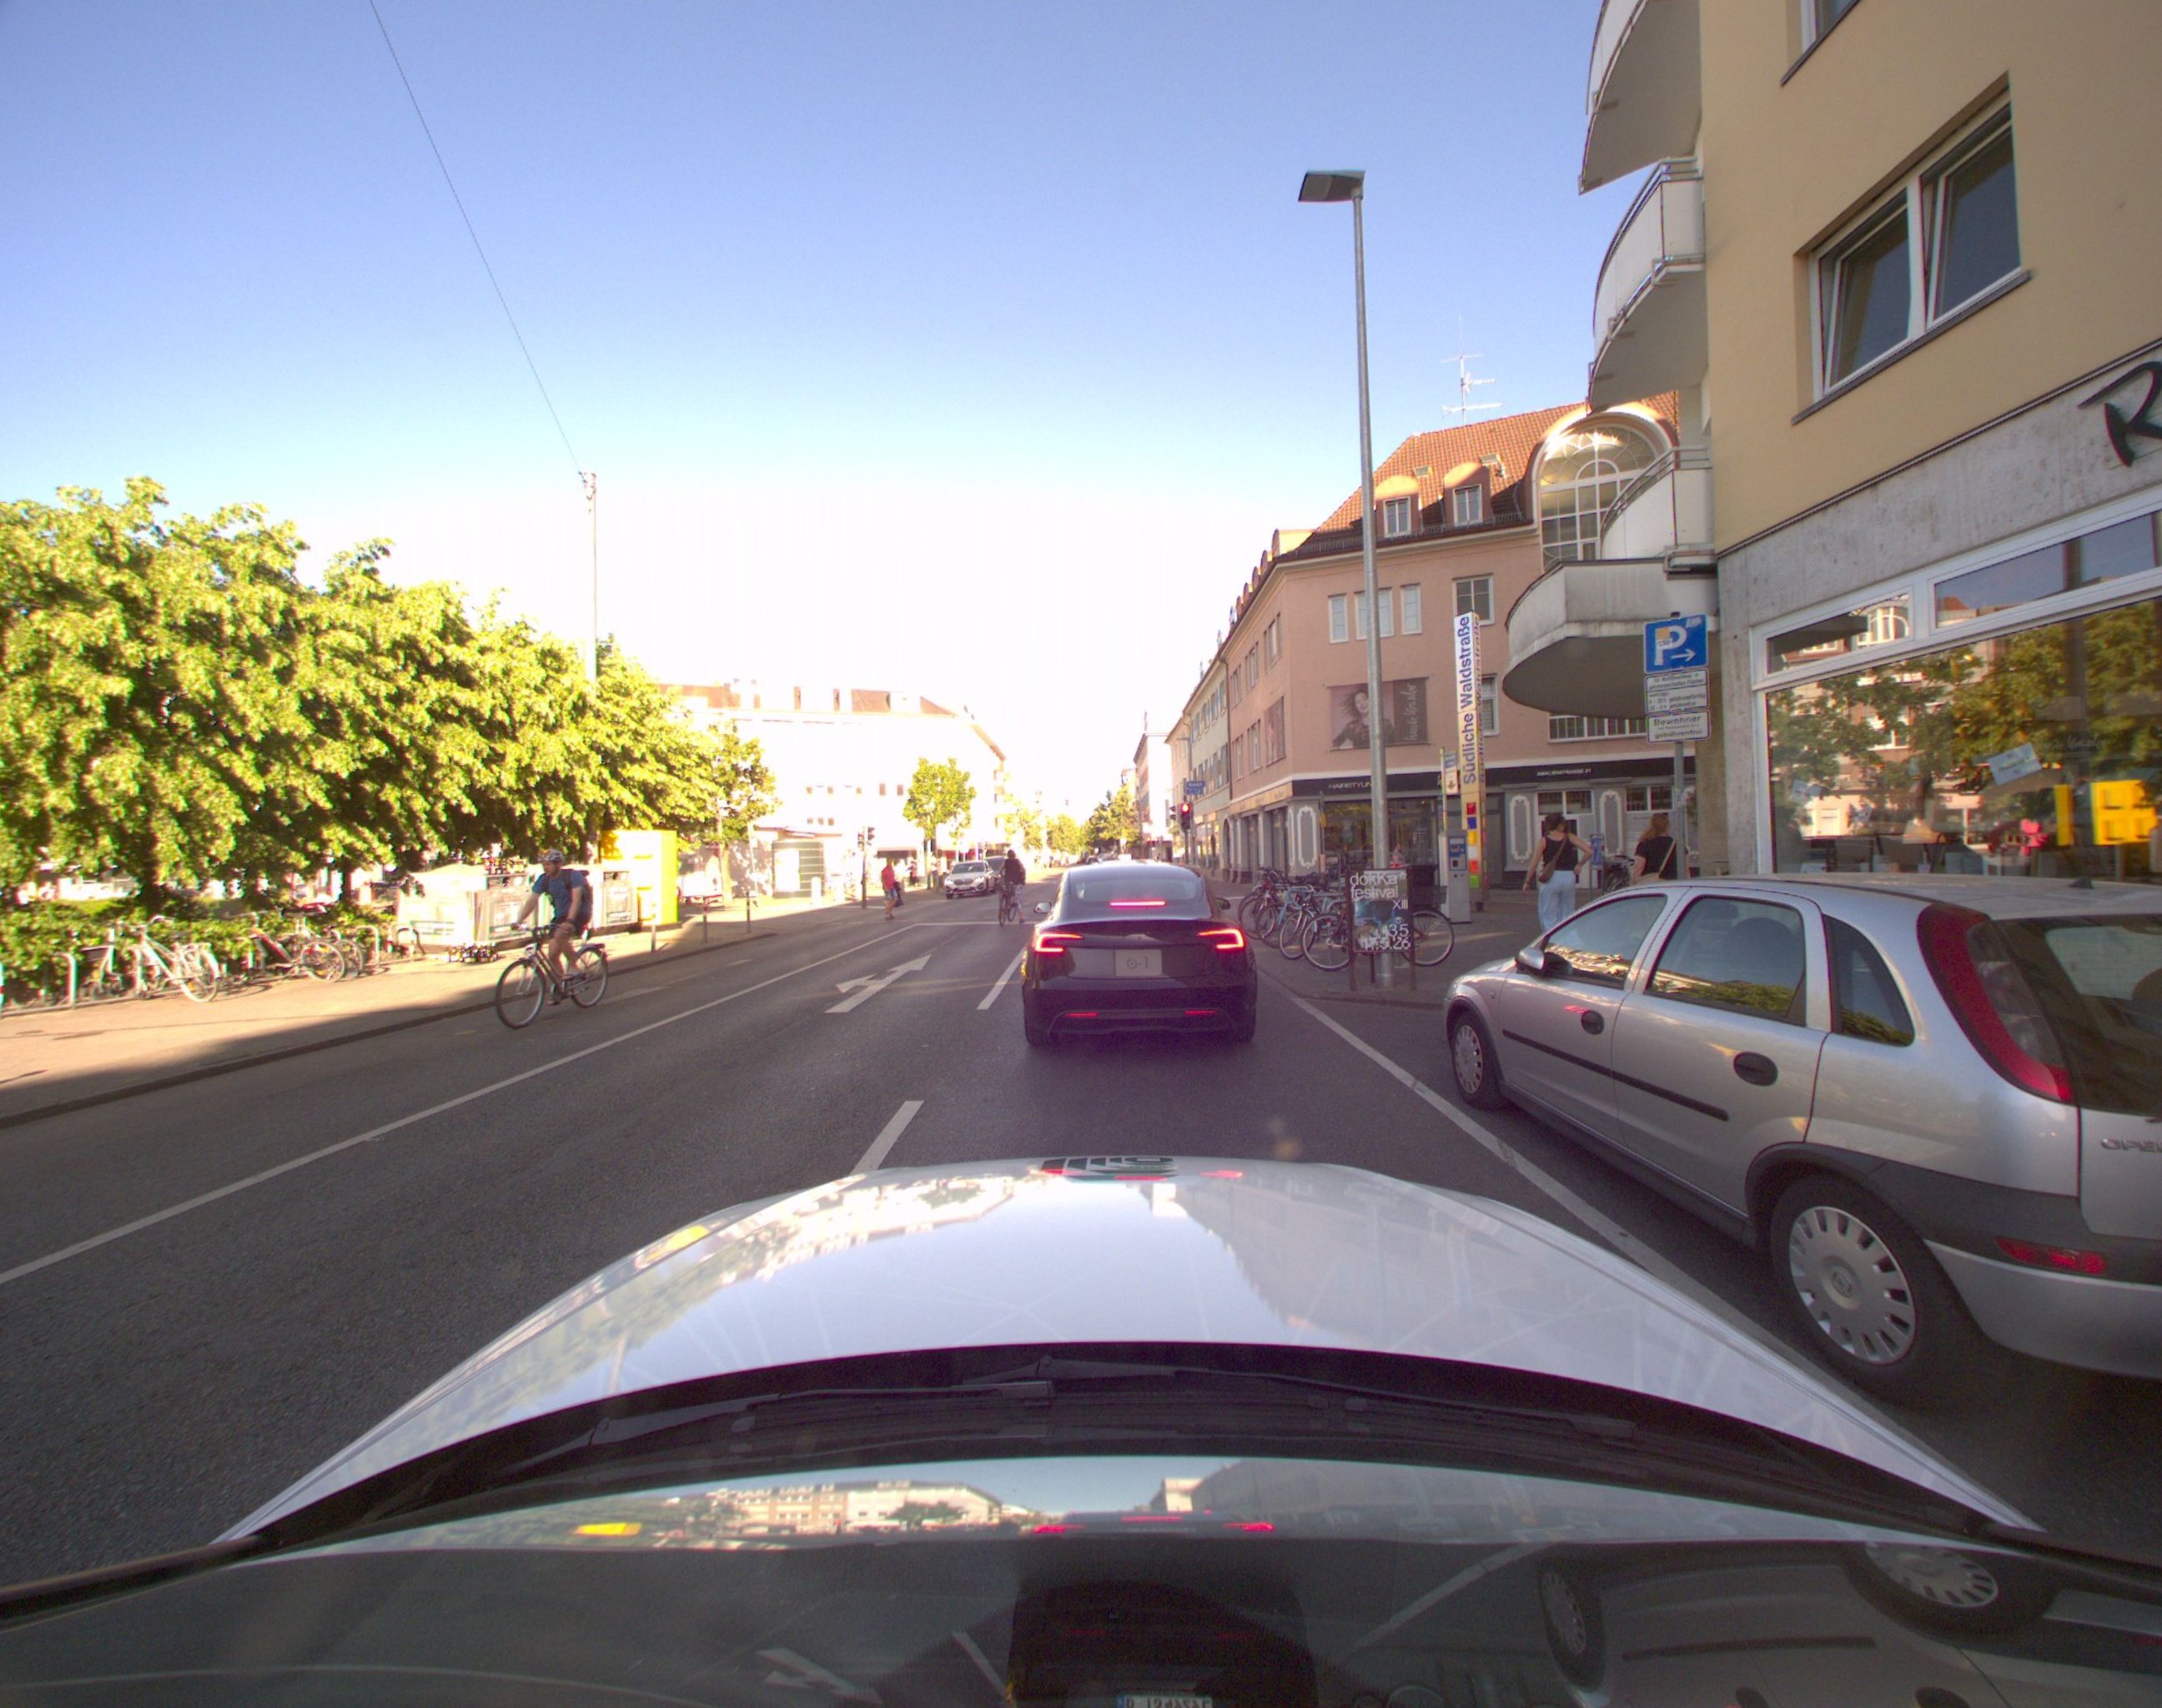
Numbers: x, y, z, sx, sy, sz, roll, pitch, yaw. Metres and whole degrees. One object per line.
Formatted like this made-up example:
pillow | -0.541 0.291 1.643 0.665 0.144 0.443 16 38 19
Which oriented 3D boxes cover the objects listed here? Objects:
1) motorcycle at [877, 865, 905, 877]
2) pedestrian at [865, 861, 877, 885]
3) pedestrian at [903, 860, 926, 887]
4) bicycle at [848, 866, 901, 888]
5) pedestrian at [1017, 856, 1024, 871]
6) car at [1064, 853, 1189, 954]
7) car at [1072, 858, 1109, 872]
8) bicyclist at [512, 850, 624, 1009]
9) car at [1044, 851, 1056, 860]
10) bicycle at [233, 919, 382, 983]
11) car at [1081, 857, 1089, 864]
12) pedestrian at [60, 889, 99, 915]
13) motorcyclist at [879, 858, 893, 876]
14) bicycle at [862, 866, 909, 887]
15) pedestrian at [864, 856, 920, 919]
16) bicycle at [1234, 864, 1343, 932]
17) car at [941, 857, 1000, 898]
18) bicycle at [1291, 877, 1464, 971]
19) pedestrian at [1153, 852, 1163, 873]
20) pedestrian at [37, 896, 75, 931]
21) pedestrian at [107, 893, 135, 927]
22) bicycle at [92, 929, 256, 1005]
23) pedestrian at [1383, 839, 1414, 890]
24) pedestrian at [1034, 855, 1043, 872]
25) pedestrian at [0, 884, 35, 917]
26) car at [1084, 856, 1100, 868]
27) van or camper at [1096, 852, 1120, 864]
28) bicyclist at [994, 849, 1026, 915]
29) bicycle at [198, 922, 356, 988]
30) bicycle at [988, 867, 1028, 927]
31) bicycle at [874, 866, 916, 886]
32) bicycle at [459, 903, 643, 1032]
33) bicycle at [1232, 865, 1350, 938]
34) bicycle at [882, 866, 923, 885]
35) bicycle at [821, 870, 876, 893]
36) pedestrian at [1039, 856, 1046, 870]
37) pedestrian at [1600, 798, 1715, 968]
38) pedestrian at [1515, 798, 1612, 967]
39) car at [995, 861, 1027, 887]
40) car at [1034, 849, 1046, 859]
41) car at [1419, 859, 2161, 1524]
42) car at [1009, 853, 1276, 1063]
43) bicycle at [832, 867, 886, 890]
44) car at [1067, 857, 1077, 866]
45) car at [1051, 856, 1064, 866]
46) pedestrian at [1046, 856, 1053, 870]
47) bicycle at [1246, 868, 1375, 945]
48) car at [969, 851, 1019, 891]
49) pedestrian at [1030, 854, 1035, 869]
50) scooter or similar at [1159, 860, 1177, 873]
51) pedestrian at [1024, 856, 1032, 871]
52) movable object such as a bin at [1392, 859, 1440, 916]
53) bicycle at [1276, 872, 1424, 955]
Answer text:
motorcycle | -17.578 1.558 75.465 2.393 1.036 0.776 0 -1 -30
pedestrian | -15.723 1.413 60.932 0.844 1.760 0.704 0 -1 -12
pedestrian | -10.167 1.195 49.702 1.088 1.611 1.267 0 -1 1
bicycle | -12.158 1.367 47.986 2.867 1.270 0.942 0 -1 -1
pedestrian | -7.231 1.135 97.299 0.734 1.868 0.787 0 -1 -15
car | 0.740 0.754 14.310 1.843 1.482 4.453 0 0 2
car | 1.000 1.057 81.160 1.677 1.390 3.941 -1 -1 37
bicyclist | -5.788 0.823 9.230 0.697 1.709 0.811 -2 -1 5
car | -7.169 0.285 188.736 2.266 2.014 4.720 0 -1 3
bicycle | -11.464 1.430 12.105 1.663 0.859 0.469 0 -1 -5
car | 1.094 1.627 208.729 1.886 1.813 3.925 0 -1 0
pedestrian | -48.323 2.302 39.313 0.858 1.214 0.904 -1 -1 14
motorcyclist | -18.042 1.198 75.251 1.116 1.633 0.769 0 -1 -30
bicycle | -12.058 1.390 50.304 2.655 1.259 0.942 0 -1 -1
pedestrian | -5.293 0.919 22.826 1.100 1.719 1.067 -1 -1 22
bicycle | 3.735 0.787 14.775 1.806 1.152 0.653 -1 0 3
car | -4.887 1.019 36.601 1.818 1.565 4.302 -5 -1 2
bicycle | 3.634 0.850 10.086 1.875 1.044 0.653 -2 0 3
pedestrian | 6.586 0.742 69.855 0.660 1.760 0.649 0 -1 -22
pedestrian | -46.274 2.671 36.761 0.928 1.520 0.924 0 -1 -43
pedestrian | -44.765 2.589 37.980 0.827 1.520 0.782 -1 -1 38
bicycle | -11.464 1.422 10.309 1.560 0.885 0.470 0 -1 1
pedestrian | 9.805 0.321 25.141 0.714 1.549 0.797 -1 -1 33
pedestrian | -4.966 1.099 94.842 0.726 1.868 0.796 -1 -1 30
pedestrian | -62.642 2.721 47.910 1.088 1.842 1.309 -1 -1 35
car | 1.681 1.162 120.276 2.026 1.788 4.011 -1 0 4
van or camper | 5.629 0.848 167.663 4.832 2.438 1.851 -1 0 1
bicyclist | -1.632 0.630 18.843 0.603 1.484 0.959 0 -1 3
bicycle | -11.429 1.428 11.606 1.667 0.859 0.469 0 -1 -5
bicycle | -1.644 0.942 18.599 0.625 1.223 2.002 0 1 3
bicycle | -12.003 1.404 52.580 2.535 1.251 0.942 0 -1 -1
bicycle | -5.842 1.201 9.140 0.613 1.162 1.960 -3 -1 4
bicycle | 3.494 0.779 13.645 1.806 1.152 0.653 -1 0 3
bicycle | -12.057 1.423 55.007 2.535 1.251 0.942 0 -1 -1
bicycle | -12.328 1.442 43.247 2.652 1.195 0.942 0 -1 -1
pedestrian | -5.260 1.227 110.646 0.696 1.868 0.905 0 -1 -15
pedestrian | 6.315 0.315 8.963 0.715 1.754 0.791 -4 -1 17
pedestrian | 5.614 0.322 9.536 0.675 1.849 0.898 -5 -1 19
car | -4.260 1.208 50.050 1.455 1.430 3.607 -5 -1 2
car | -9.025 -0.017 180.141 2.266 2.014 4.720 0 -1 3
car | 2.958 0.743 3.550 1.578 1.426 3.581 0 -1 2
car | 0.494 0.743 7.886 1.843 1.447 4.453 0 0 2
bicycle | -12.397 1.374 45.591 2.772 1.274 0.933 0 -1 -2
car | -2.003 1.772 187.432 2.124 1.970 4.135 -1 0 2
car | -4.864 1.318 166.811 2.405 1.970 4.679 -1 0 2
pedestrian | -4.141 1.189 106.940 0.775 1.868 1.004 0 -1 -13
bicycle | 3.516 0.795 12.570 1.806 1.102 0.653 -1 0 3
car | -4.499 0.838 42.924 1.938 1.947 4.822 -1 0 2
pedestrian | -6.220 0.977 104.228 0.693 1.868 0.658 0 -1 -3
scooter or similar | 7.506 1.049 70.296 1.339 1.134 0.804 0 -1 -23
pedestrian | -6.335 1.129 97.347 0.734 1.868 0.787 0 -1 -15
movable object such as a bin | 6.742 0.663 16.425 0.633 1.103 0.728 -4 -1 5
bicycle | 3.653 0.802 11.159 1.806 1.060 0.653 -1 0 3
